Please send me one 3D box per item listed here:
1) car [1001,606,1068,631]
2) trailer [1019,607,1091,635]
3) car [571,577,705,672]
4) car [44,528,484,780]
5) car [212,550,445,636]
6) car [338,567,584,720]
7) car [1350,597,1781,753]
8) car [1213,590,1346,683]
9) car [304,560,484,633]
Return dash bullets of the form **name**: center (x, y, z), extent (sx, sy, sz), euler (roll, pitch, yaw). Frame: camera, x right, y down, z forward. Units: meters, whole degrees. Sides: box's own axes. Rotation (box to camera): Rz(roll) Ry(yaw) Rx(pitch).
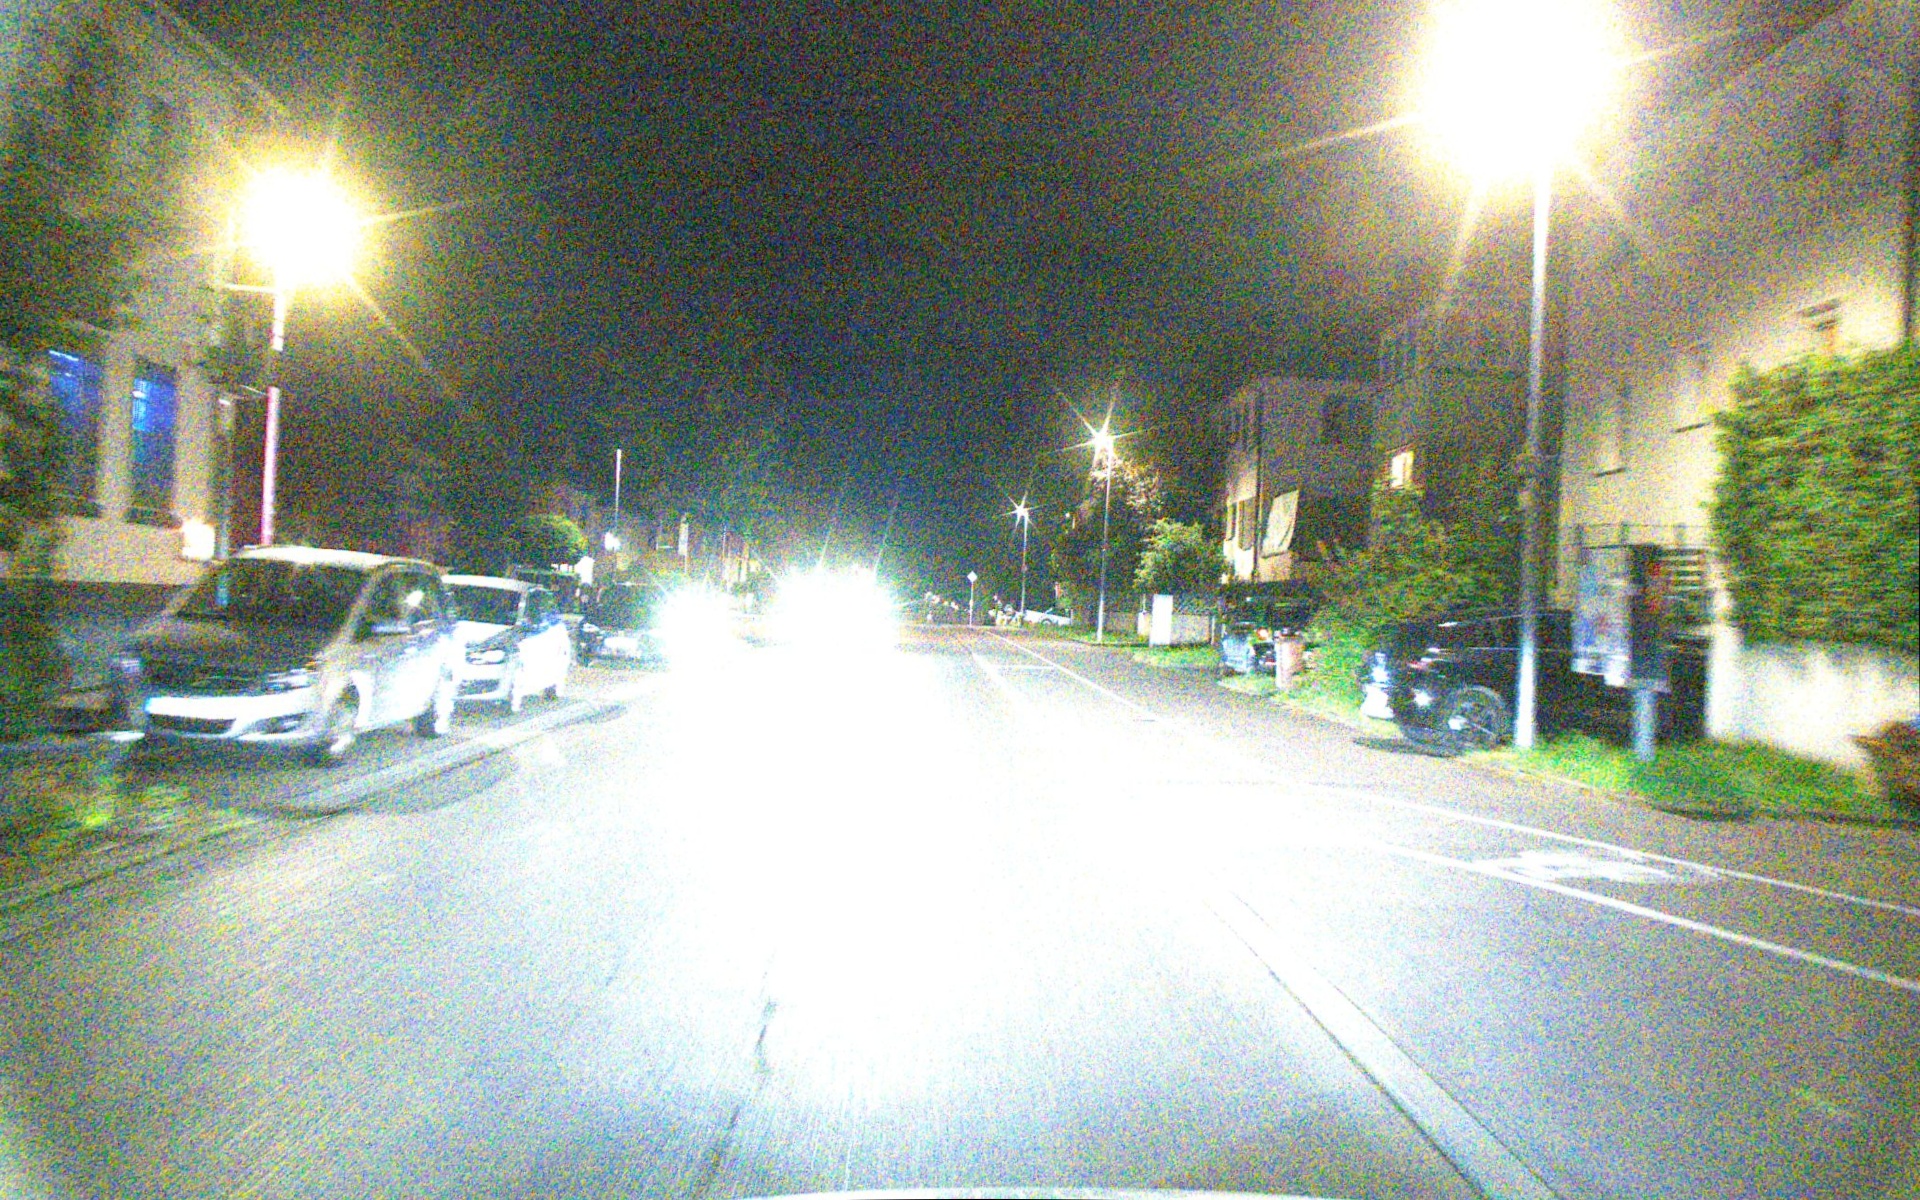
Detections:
- **car**: center (3.854, 0.947, 85.947), extent (3.324, 1.253, 1.723), euler (0, 0, -4)
- **trailer**: center (4.698, 1.035, 82.218), extent (3.364, 1.019, 1.953), euler (6, -1, -2)
- **car**: center (-5.671, 0.393, 29.556), extent (1.714, 1.494, 4.007), euler (3, 0, -3)
- **car**: center (-5.550, 0.375, 13.912), extent (1.890, 1.665, 4.468), euler (3, 0, -3)
- **car**: center (-13.007, -0.147, 34.267), extent (4.031, 1.691, 2.000), euler (1, 0, -1)
- **car**: center (-5.662, 0.450, 19.258), extent (1.735, 1.494, 3.964), euler (3, 0, -3)
- **car**: center (6.221, 0.745, 17.284), extent (3.825, 1.512, 1.832), euler (1, 0, -2)
- **car**: center (5.891, 0.634, 30.881), extent (1.606, 1.587, 3.677), euler (2, 0, -2)
- **car**: center (-13.896, -0.095, 40.809), extent (3.913, 1.732, 1.944), euler (0, 0, -9)
